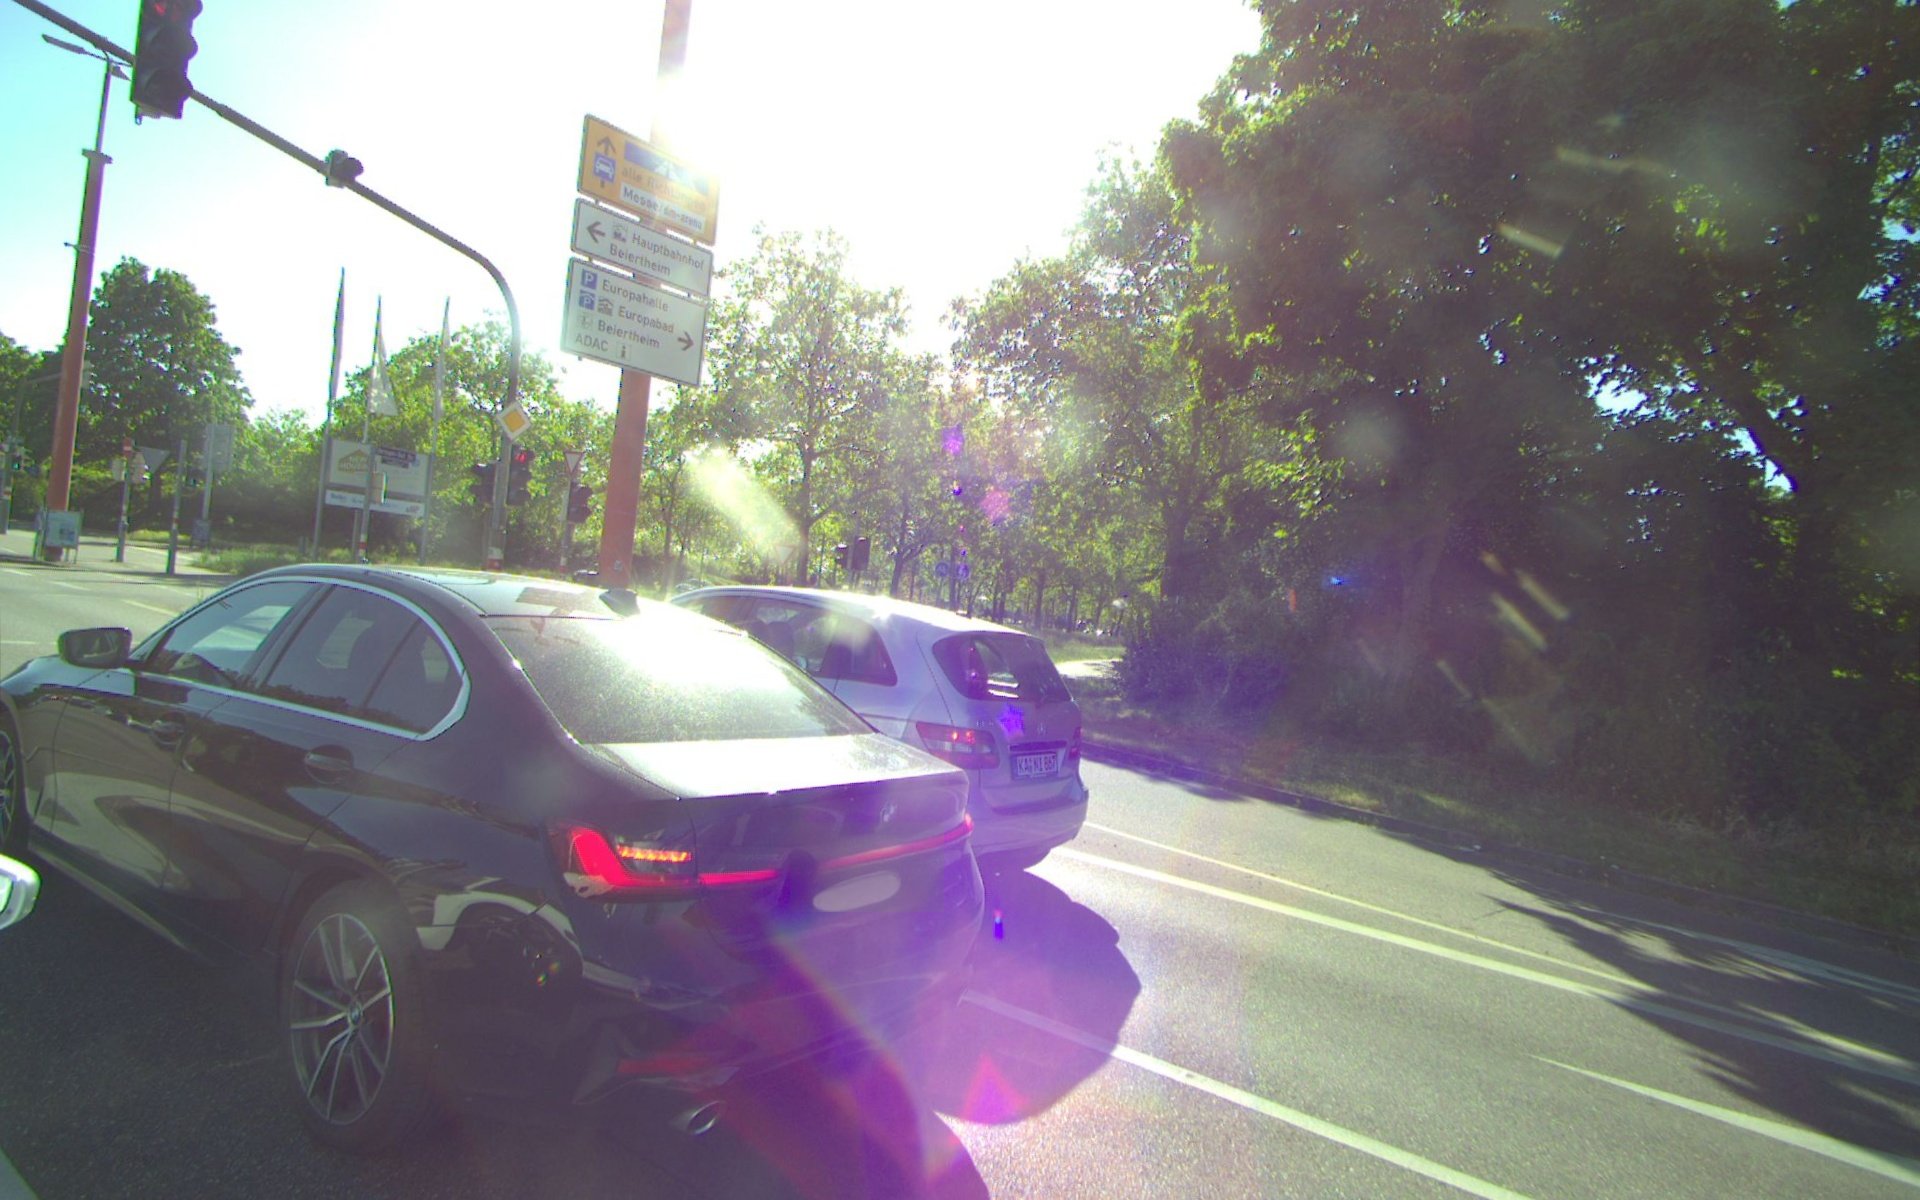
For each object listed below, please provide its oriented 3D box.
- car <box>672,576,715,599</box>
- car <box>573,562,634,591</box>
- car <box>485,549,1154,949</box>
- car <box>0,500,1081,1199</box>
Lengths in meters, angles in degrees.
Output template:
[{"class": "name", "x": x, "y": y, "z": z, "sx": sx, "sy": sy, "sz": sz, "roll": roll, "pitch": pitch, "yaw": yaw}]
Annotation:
[{"class": "car", "x": -22.165, "y": -1.020, "z": 83.822, "sx": 1.652, "sy": 1.485, "sz": 3.998, "roll": 7, "pitch": -1, "yaw": 12}, {"class": "car", "x": -25.080, "y": -1.625, "z": 70.909, "sx": 1.751, "sy": 1.503, "sz": 4.332, "roll": 7, "pitch": -1, "yaw": 15}, {"class": "car", "x": -1.019, "y": 0.707, "z": 6.485, "sx": 3.963, "sy": 1.597, "sz": 1.741, "roll": 7, "pitch": 0, "yaw": 33}, {"class": "car", "x": -1.984, "y": 0.546, "z": 3.820, "sx": 4.371, "sy": 1.415, "sz": 1.871, "roll": 7, "pitch": 0, "yaw": 33}]
